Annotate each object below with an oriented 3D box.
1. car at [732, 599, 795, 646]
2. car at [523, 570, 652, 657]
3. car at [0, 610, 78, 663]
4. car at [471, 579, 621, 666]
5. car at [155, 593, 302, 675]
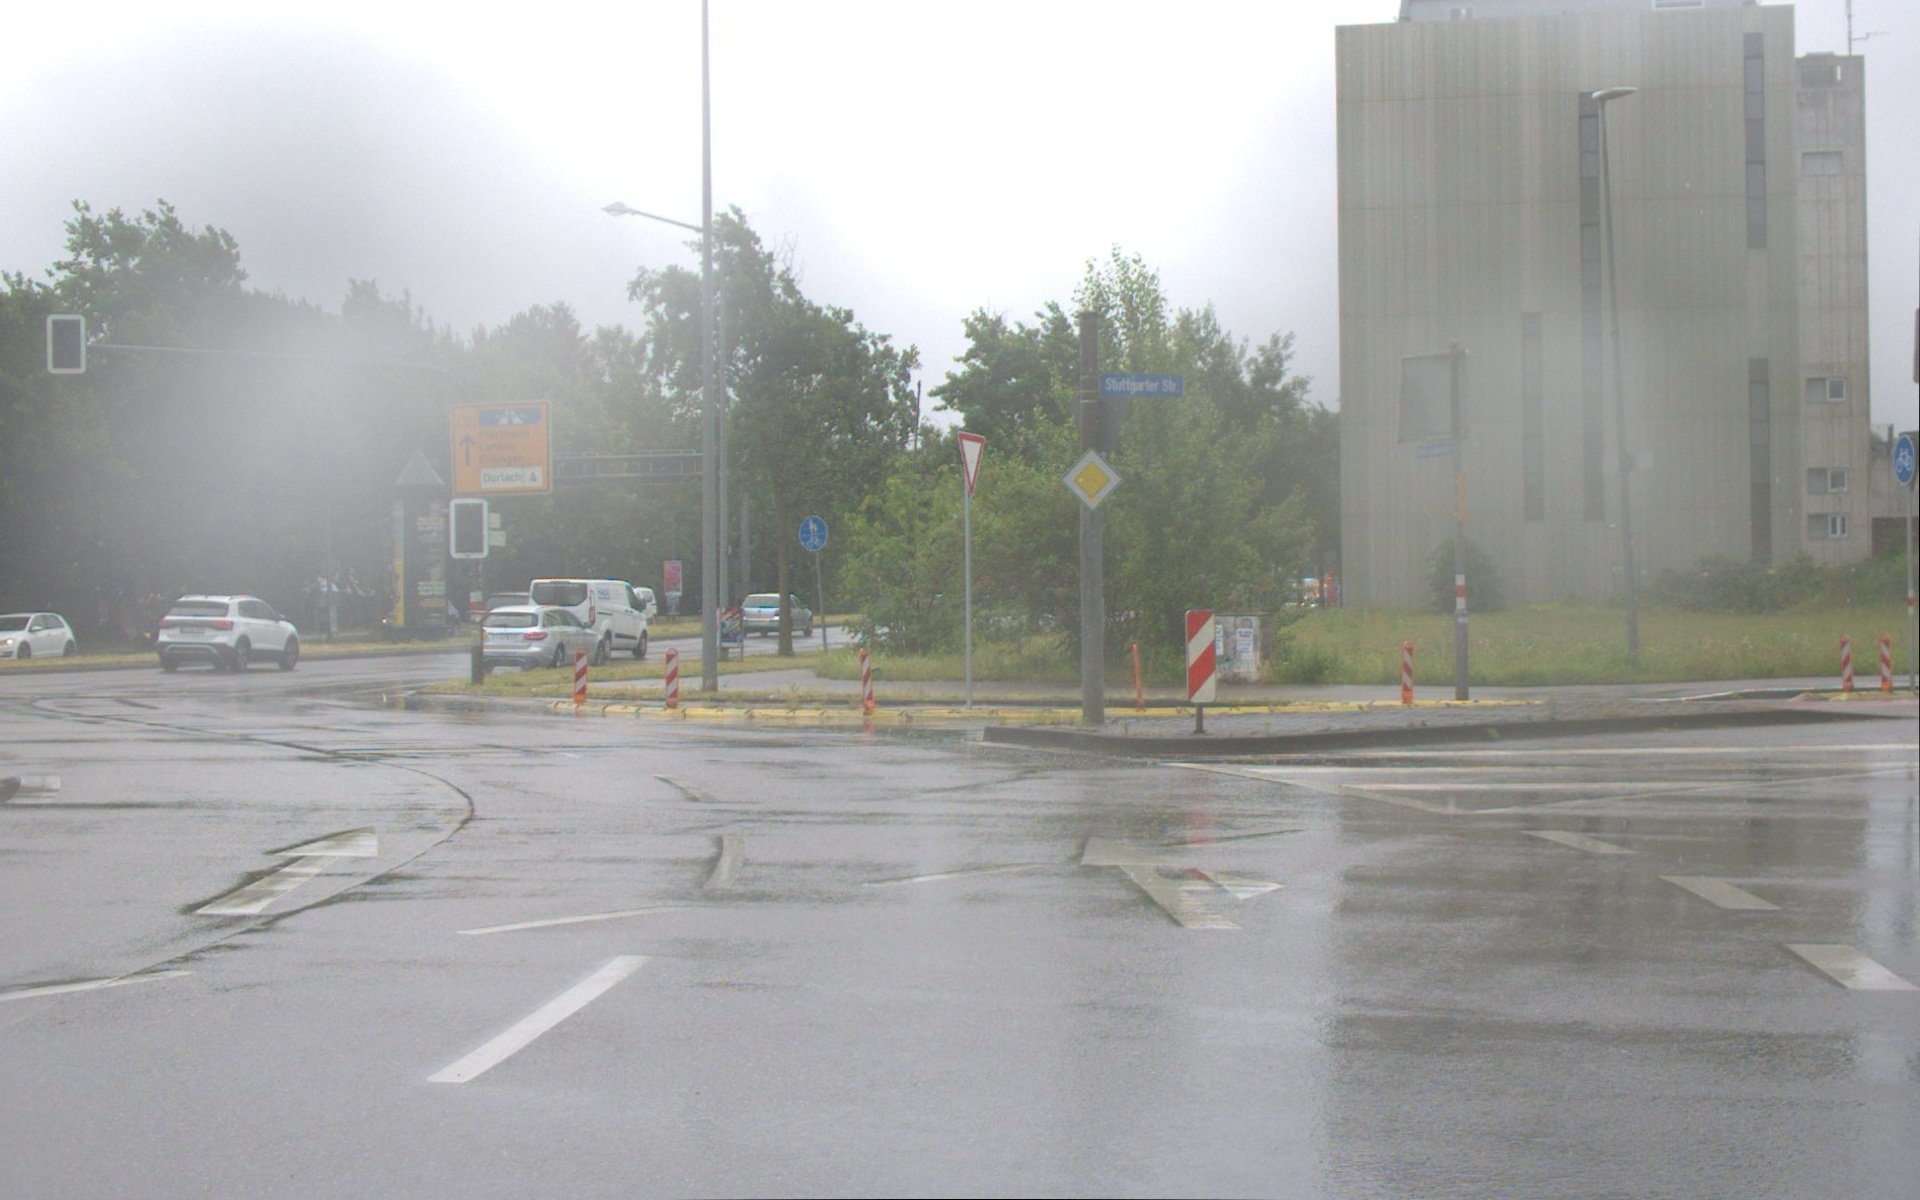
[{"bbox_3d":[-6.429,0.734,112.845,1.689,1.487,3.251,0,1,4],"label":"car"},{"bbox_3d":[-9.258,0.359,85.695,1.784,2.029,3.997,1,-1,16],"label":"car"},{"bbox_3d":[-25.194,0.980,91.956,1.627,1.371,4.248,1,-1,7],"label":"car"},{"bbox_3d":[-8.834,0.455,73.749,1.784,1.804,4.835,0,0,11],"label":"car"},{"bbox_3d":[-15.330,0.734,72.236,1.681,1.642,3.945,1,-1,9],"label":"car"}]
